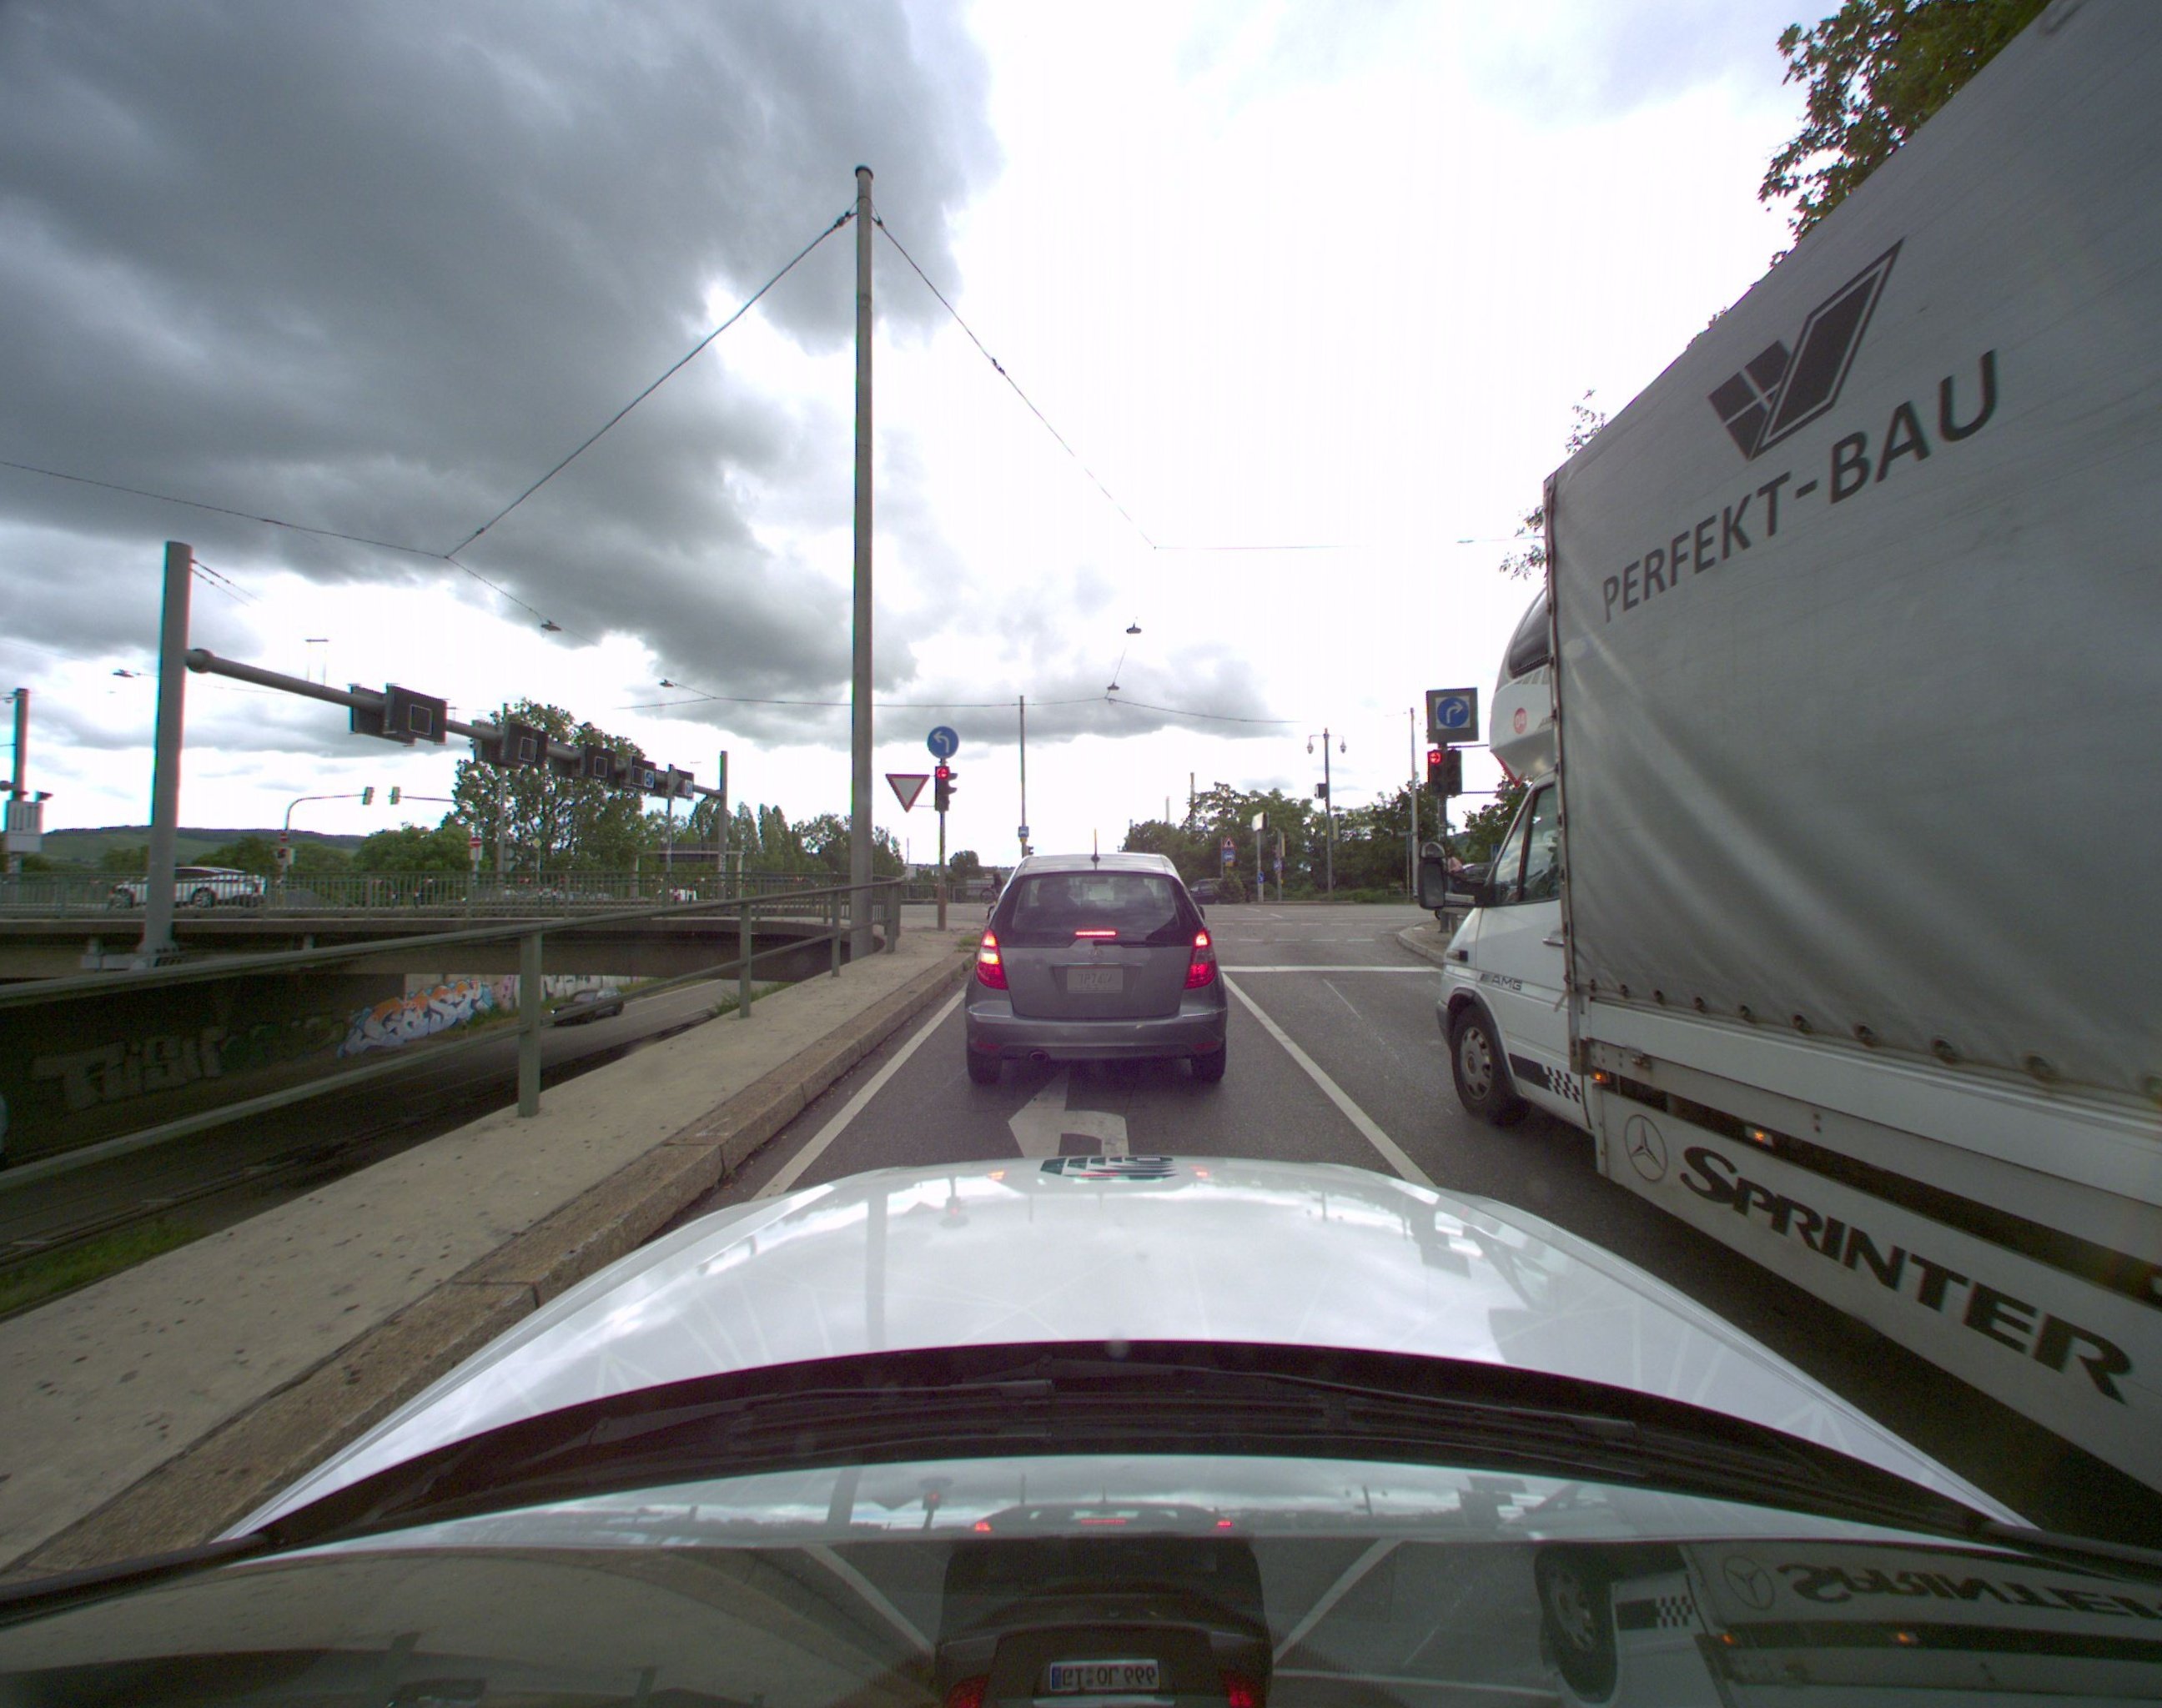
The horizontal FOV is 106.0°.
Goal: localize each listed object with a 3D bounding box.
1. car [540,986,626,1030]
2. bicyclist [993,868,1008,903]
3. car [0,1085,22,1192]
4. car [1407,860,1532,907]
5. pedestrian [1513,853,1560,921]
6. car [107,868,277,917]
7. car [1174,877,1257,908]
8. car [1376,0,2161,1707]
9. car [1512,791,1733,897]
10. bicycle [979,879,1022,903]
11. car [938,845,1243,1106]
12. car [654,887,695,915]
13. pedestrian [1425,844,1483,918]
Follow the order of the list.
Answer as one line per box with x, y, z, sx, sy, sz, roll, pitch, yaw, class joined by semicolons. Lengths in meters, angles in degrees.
-28.345;8.729;46.534;1.986;1.751;4.591;-1;-2;2;car
-3.987;1.536;40.282;0.653;1.673;0.867;-1;0;-9;bicyclist
-27.886;7.015;17.411;2.076;2.535;6.328;-2;-2;1;car
14.791;1.125;31.181;3.966;1.665;1.816;-1;0;6;car
11.125;0.784;19.907;0.680;1.619;0.776;-1;0;-36;pedestrian
-34.743;1.467;31.918;4.379;1.717;1.936;-1;0;-2;car
8.462;2.395;51.690;2.014;1.771;5.180;-1;0;-38;car
3.050;-0.051;1.476;2.648;3.329;7.094;-1;-1;2;car
18.395;-0.341;27.673;6.772;2.783;2.105;-6;-3;-16;car
-3.993;1.822;40.267;2.032;1.124;0.926;-1;0;-10;bicycle
0.193;0.735;7.008;1.849;1.588;4.005;-1;1;4;car
-36.334;4.199;72.873;1.850;2.215;3.660;-1;0;-3;car
8.748;0.642;19.124;0.830;1.678;0.978;-1;-3;-1;pedestrian
